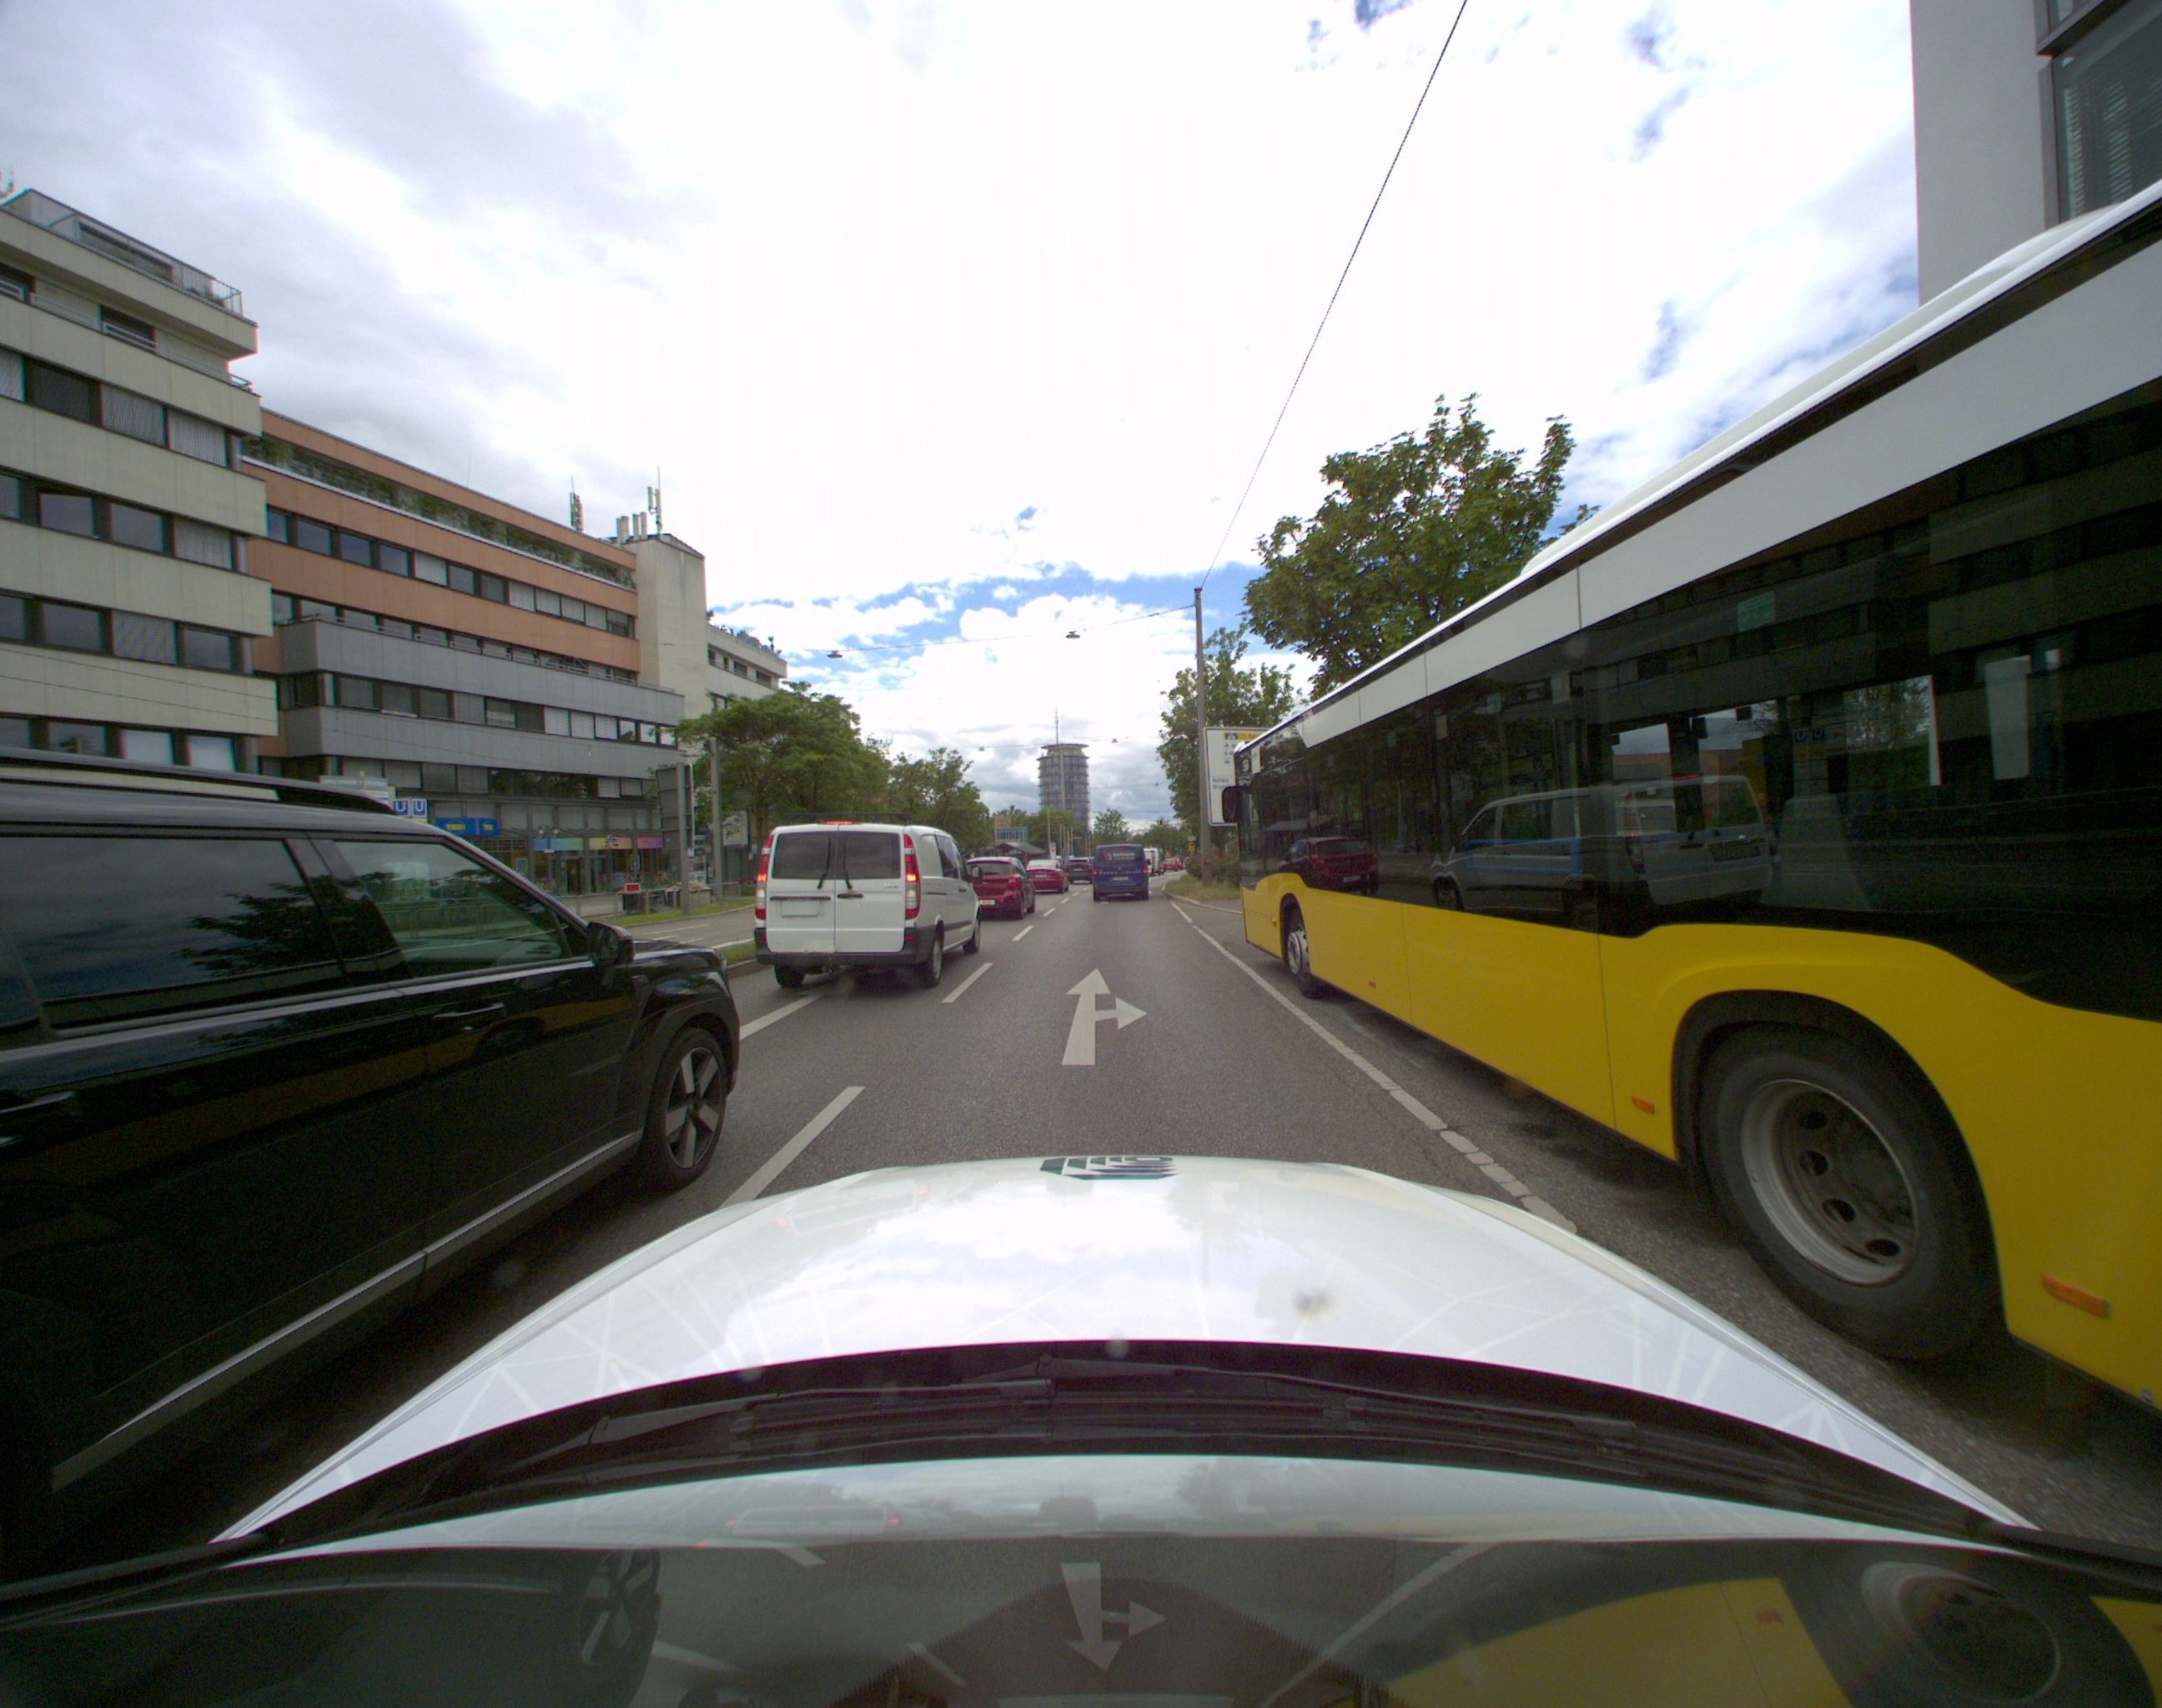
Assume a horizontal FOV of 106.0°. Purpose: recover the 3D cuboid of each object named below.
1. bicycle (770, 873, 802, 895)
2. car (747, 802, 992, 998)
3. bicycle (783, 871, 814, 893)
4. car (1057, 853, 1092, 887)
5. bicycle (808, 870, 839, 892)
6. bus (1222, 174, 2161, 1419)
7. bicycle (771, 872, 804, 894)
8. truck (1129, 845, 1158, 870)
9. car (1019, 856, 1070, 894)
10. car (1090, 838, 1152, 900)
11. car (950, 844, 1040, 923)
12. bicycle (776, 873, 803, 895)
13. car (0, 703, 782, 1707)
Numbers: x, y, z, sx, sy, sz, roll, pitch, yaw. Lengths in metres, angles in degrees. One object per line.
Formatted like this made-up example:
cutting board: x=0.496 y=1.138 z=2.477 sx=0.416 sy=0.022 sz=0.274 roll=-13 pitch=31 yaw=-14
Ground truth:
bicycle: x=-18.178 y=1.818 z=50.219 sx=0.619 sy=1.253 sz=1.694 roll=-3 pitch=-1 yaw=43
car: x=-2.495 y=0.475 z=11.068 sx=1.867 sy=2.013 sz=5.077 roll=-1 pitch=0 yaw=1
bicycle: x=-17.350 y=1.721 z=50.041 sx=0.619 sy=1.253 sz=1.694 roll=-3 pitch=-1 yaw=43
car: x=-0.354 y=0.971 z=51.165 sx=1.986 sy=2.013 sz=4.002 roll=-1 pitch=0 yaw=2
bicycle: x=-15.895 y=1.661 z=50.261 sx=0.619 sy=1.253 sz=1.694 roll=-3 pitch=-1 yaw=43
bus: x=3.425 y=-0.242 z=6.684 sx=2.704 sy=3.163 sz=9.124 roll=-4 pitch=0 yaw=-1
bicycle: x=-17.505 y=1.727 z=48.544 sx=0.619 sy=1.253 sz=1.694 roll=-3 pitch=-1 yaw=44
truck: x=5.846 y=0.343 z=75.296 sx=1.981 sy=2.166 sz=5.576 roll=-1 pitch=0 yaw=11
car: x=-1.527 y=0.884 z=35.516 sx=1.861 sy=1.486 sz=4.001 roll=-3 pitch=-1 yaw=2
car: x=1.385 y=0.516 z=28.734 sx=1.940 sy=1.965 sz=4.543 roll=-2 pitch=-1 yaw=2
car: x=-2.092 y=0.721 z=20.813 sx=1.740 sy=1.723 sz=4.000 roll=-3 pitch=-1 yaw=0
bicycle: x=-17.702 y=1.841 z=49.500 sx=1.479 sy=1.253 sz=0.427 roll=-2 pitch=-1 yaw=-44
car: x=-2.702 y=0.649 z=2.331 sx=1.916 sy=1.751 sz=4.678 roll=-1 pitch=0 yaw=0
